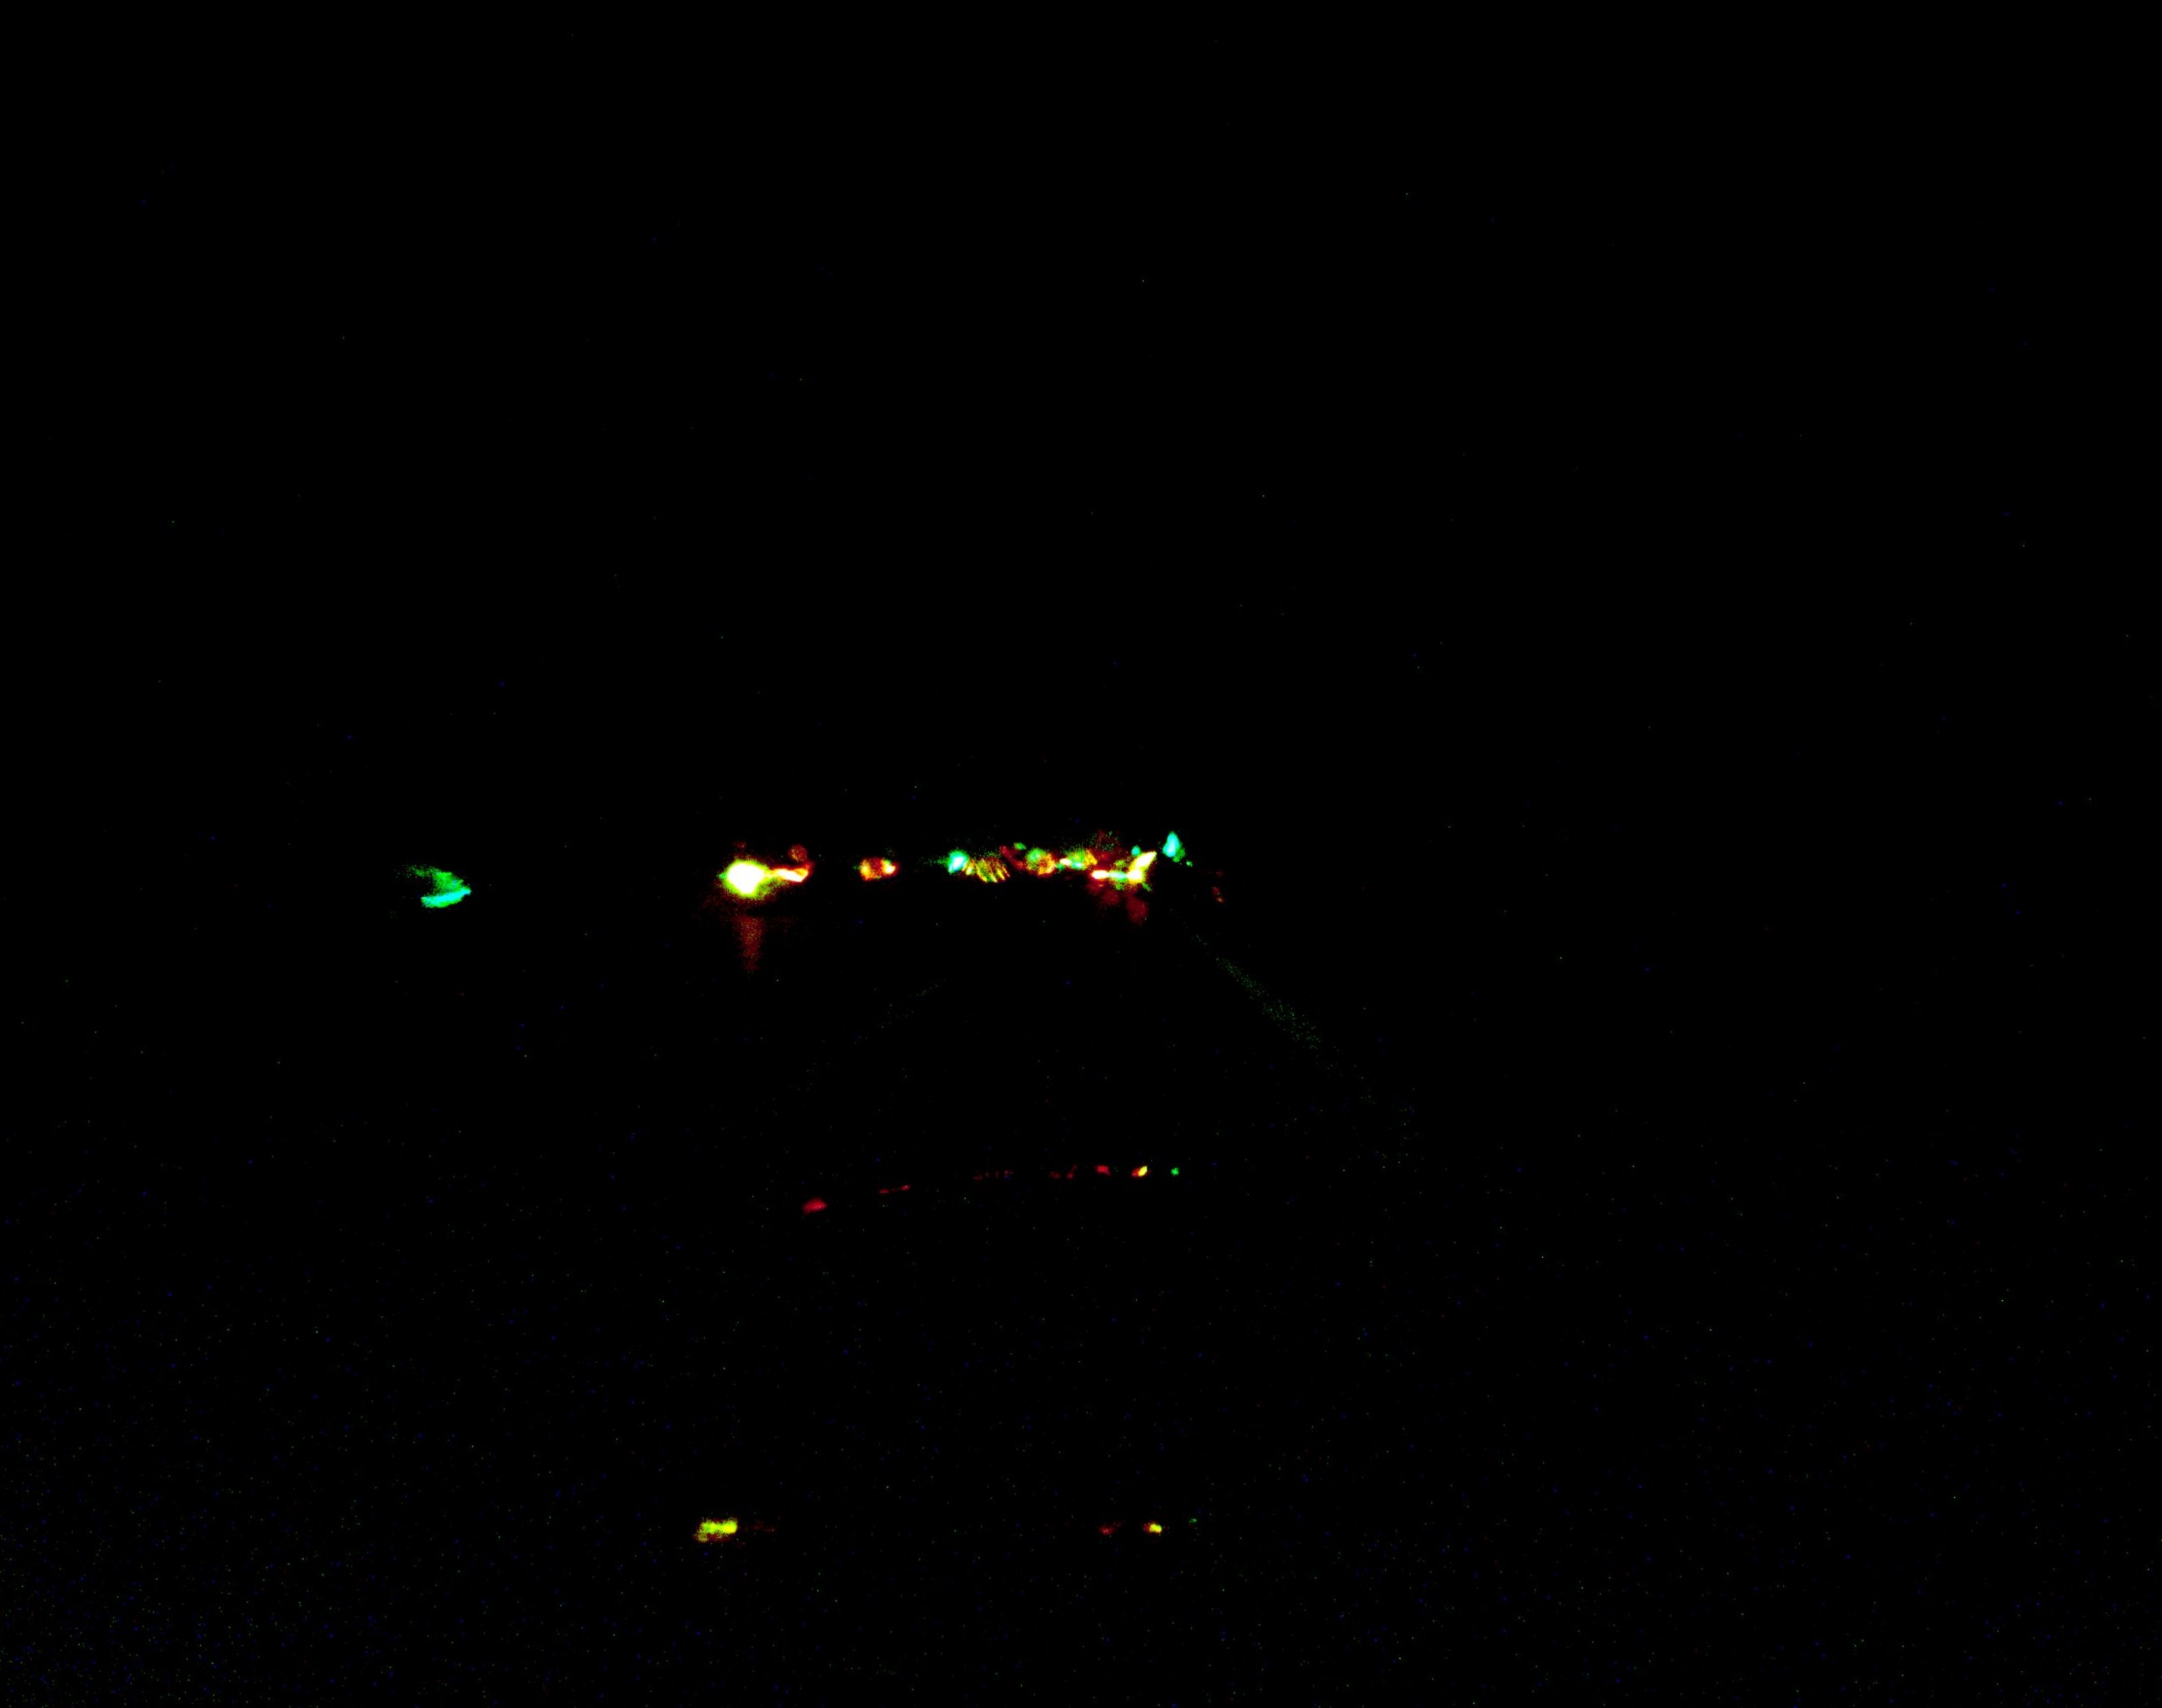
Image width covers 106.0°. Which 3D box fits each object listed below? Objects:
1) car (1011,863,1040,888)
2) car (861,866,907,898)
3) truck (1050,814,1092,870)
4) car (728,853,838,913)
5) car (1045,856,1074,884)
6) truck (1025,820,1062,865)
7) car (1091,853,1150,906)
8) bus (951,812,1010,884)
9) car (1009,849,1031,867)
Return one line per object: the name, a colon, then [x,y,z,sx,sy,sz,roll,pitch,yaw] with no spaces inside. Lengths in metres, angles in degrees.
car: [-4.201,1.617,61.995,1.988,1.807,3.997,0,-1,-2]
car: [-10.614,1.479,44.140,1.690,1.650,3.837,0,-1,-3]
truck: [-0.917,-1.124,87.646,4.195,5.648,11.468,0,-1,1]
car: [-8.548,0.795,23.742,1.990,1.596,3.993,0,-1,-5]
car: [-1.641,1.202,62.663,2.119,2.014,4.644,0,-1,-1]
truck: [-4.811,-1.405,107.971,4.195,5.648,11.468,0,-1,1]
car: [1.401,0.878,29.781,1.986,1.807,4.001,0,-1,1]
bus: [-6.776,-0.329,56.629,3.089,4.508,10.904,0,-1,-2]
car: [-6.289,0.376,84.039,1.988,1.807,3.997,0,-1,-2]
